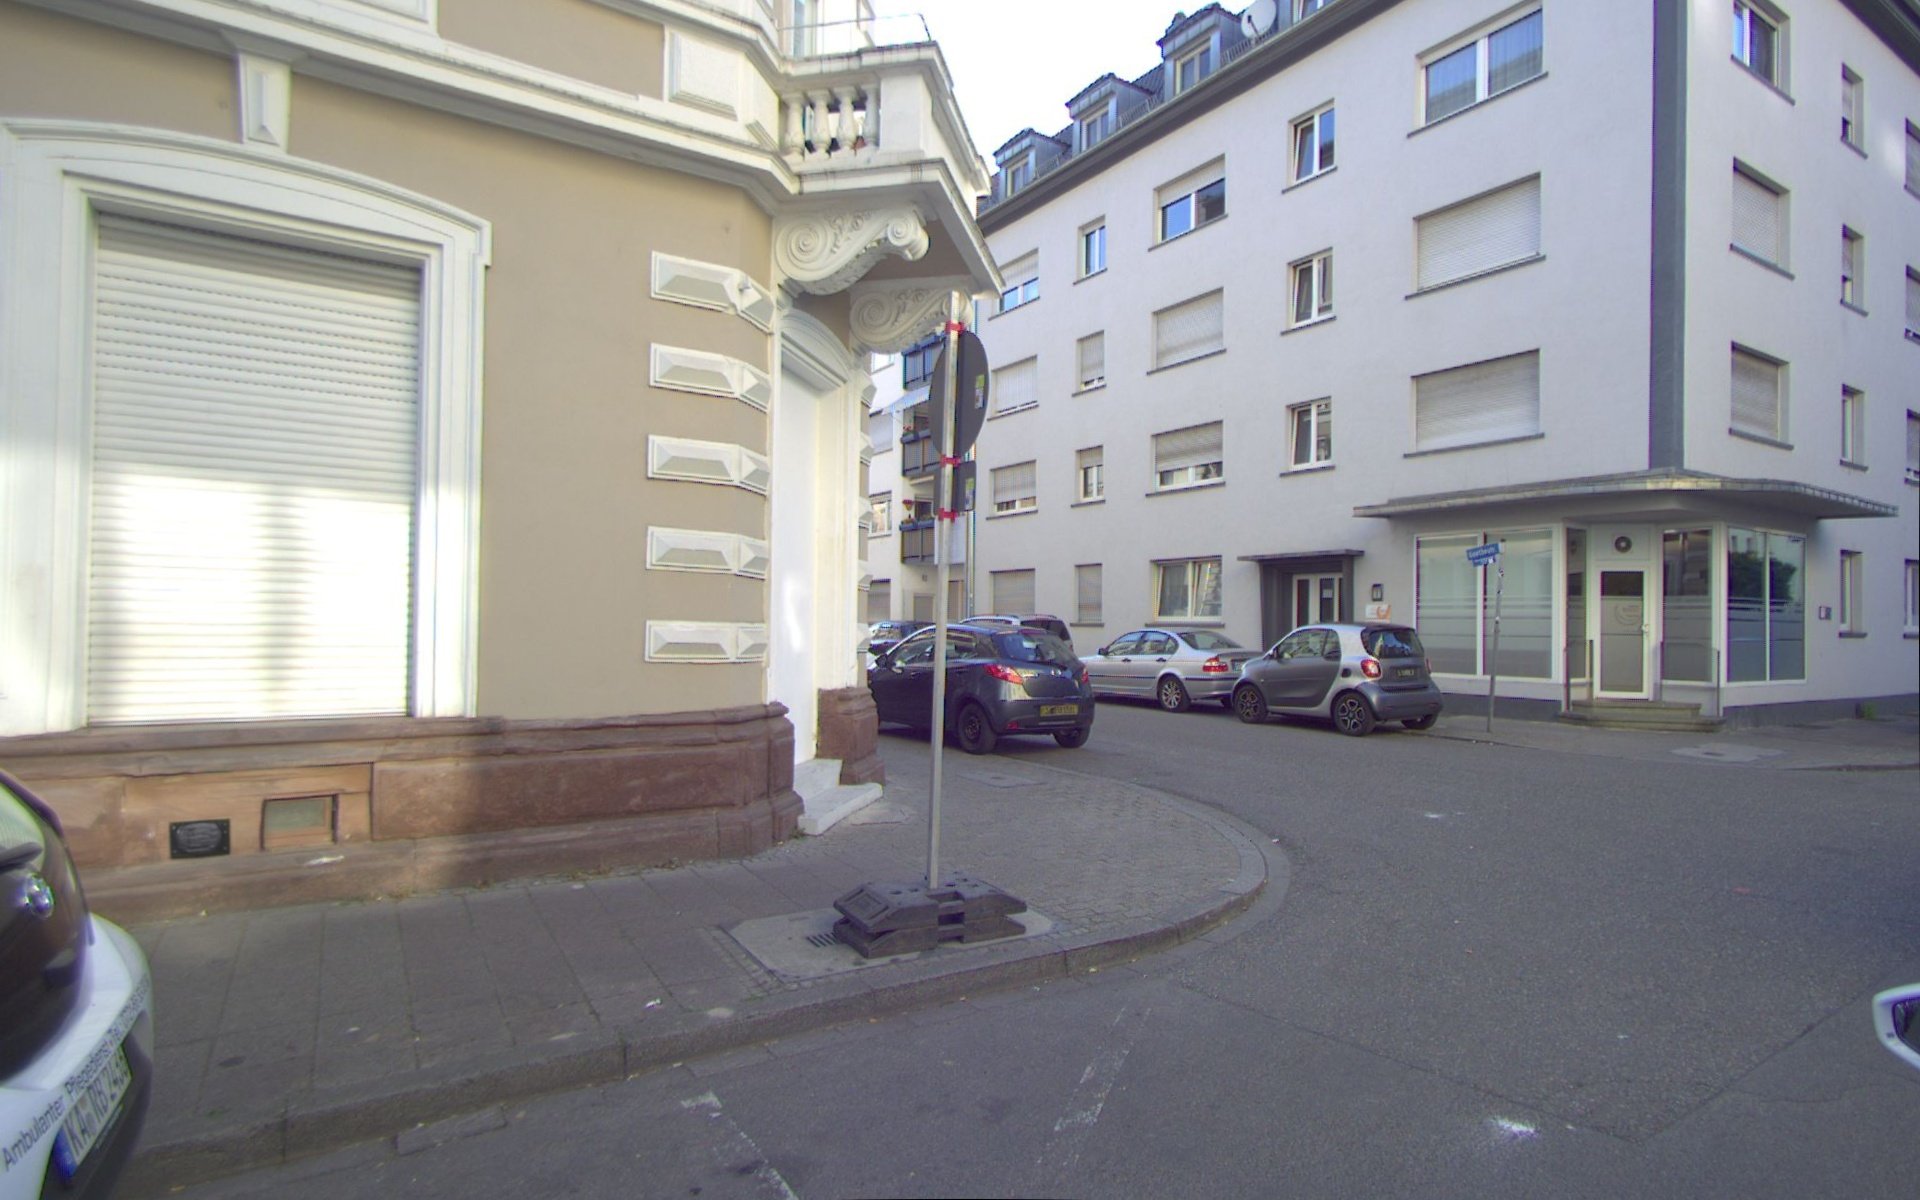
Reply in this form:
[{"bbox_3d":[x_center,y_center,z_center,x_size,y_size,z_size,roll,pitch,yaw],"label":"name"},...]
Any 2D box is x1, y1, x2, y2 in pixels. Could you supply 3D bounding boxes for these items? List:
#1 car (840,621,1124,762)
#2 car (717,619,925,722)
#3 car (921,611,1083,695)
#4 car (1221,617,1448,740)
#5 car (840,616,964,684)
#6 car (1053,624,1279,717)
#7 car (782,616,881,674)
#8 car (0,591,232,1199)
[{"bbox_3d":[0.140,1.015,12.571,1.713,1.470,3.639,1,-2,-36],"label":"car"},{"bbox_3d":[-2.463,1.073,16.817,1.884,1.481,4.286,1,-1,-32],"label":"car"},{"bbox_3d":[0.842,1.110,22.469,1.586,1.626,3.993,1,0,-33],"label":"car"},{"bbox_3d":[5.482,1.082,14.942,1.576,1.560,2.771,1,0,-31],"label":"car"},{"bbox_3d":[-1.589,1.261,26.292,1.587,1.560,3.685,1,0,-34],"label":"car"},{"bbox_3d":[3.634,1.203,18.422,1.586,1.422,4.179,2,-1,-33],"label":"car"},{"bbox_3d":[-3.937,1.310,30.271,1.586,1.560,3.470,1,0,-33],"label":"car"},{"bbox_3d":[-3.423,0.772,0.965,4.218,1.527,1.911,1,-3,-31],"label":"car"}]
